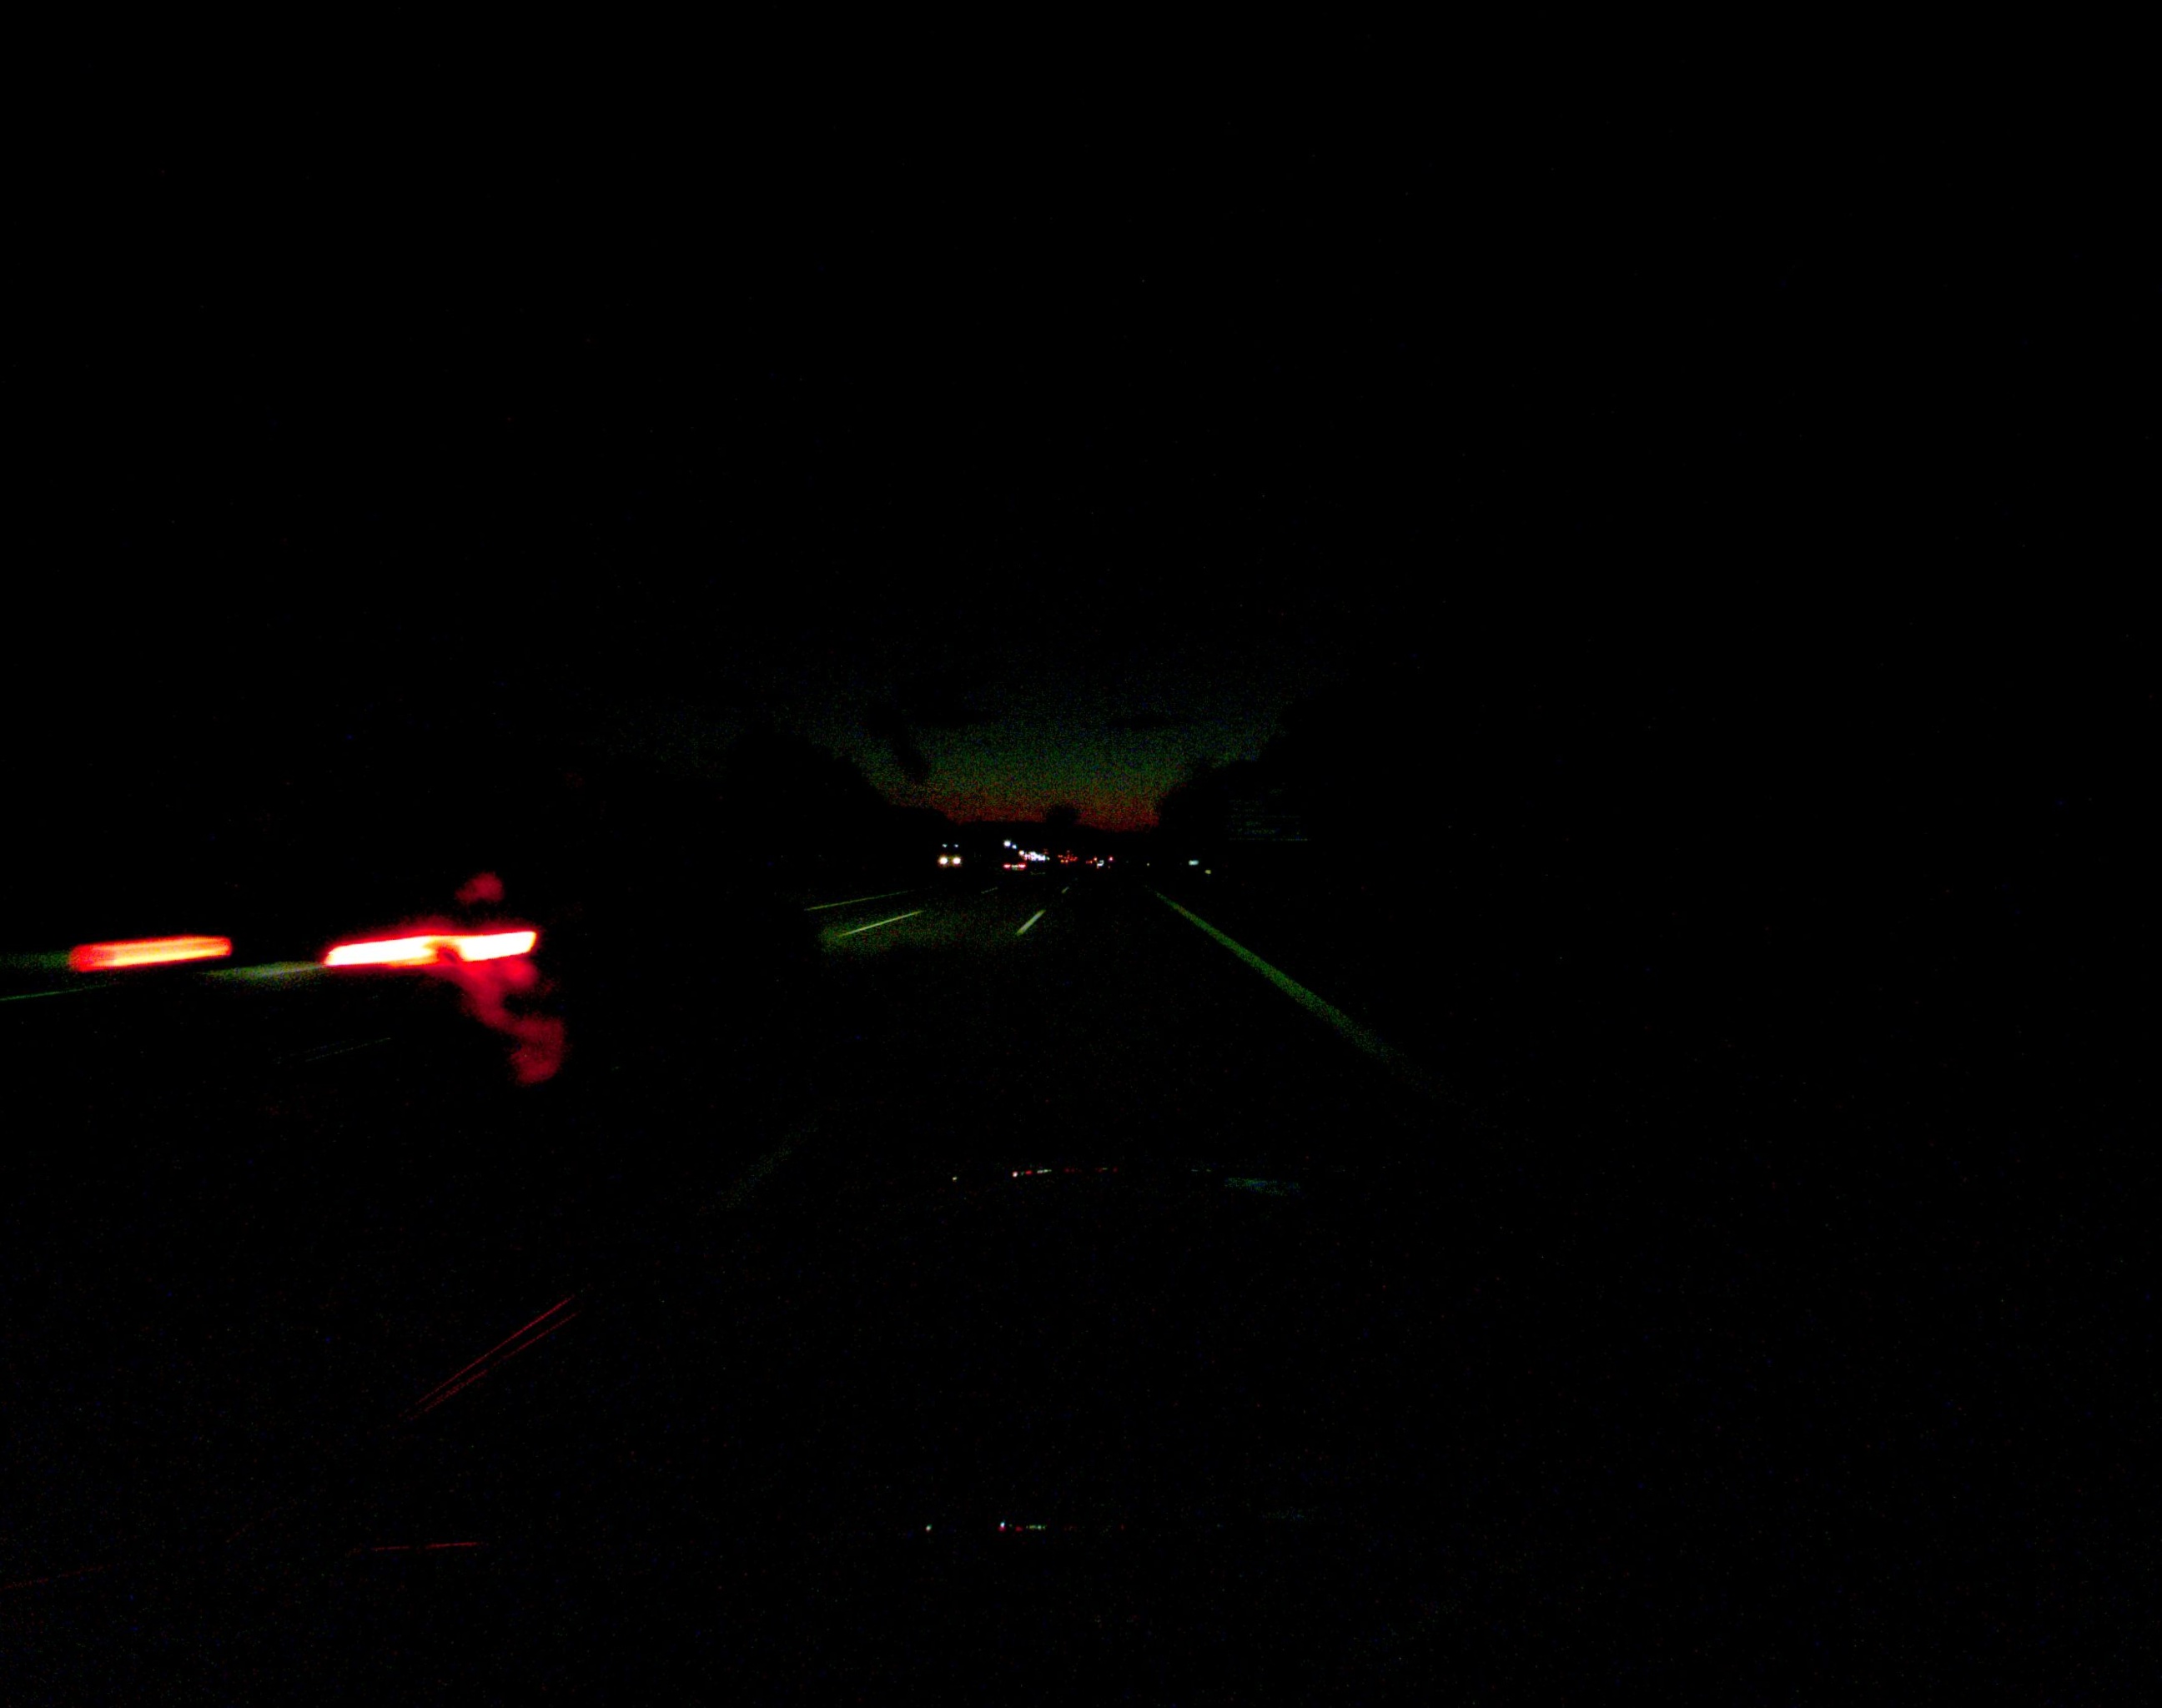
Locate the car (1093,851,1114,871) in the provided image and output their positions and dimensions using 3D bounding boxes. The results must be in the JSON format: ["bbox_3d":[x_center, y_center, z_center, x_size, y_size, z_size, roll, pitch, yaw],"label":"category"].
[{"bbox_3d":[2.396,0.713,86.929,2.189,1.955,4.764,-1,0,1],"label":"car"}]

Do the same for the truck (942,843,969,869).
[{"bbox_3d":[-19.400,0.351,126.300,2.510,3.851,9.068,0,0,2],"label":"truck"}]

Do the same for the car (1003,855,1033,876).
[{"bbox_3d":[-5.092,0.912,65.995,1.773,1.487,5.256,2,1,2],"label":"car"}]

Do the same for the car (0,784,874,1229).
[{"bbox_3d":[-3.448,0.640,6.209,1.986,1.721,5.945,-2,-1,2],"label":"car"}]

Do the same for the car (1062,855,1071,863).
[{"bbox_3d":[-4.197,1.383,229.387,2.188,1.955,4.636,2,1,2],"label":"car"}]

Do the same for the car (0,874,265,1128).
[{"bbox_3d":[-6.998,0.850,3.399,1.544,1.431,5.515,-1,-1,1],"label":"car"}]
